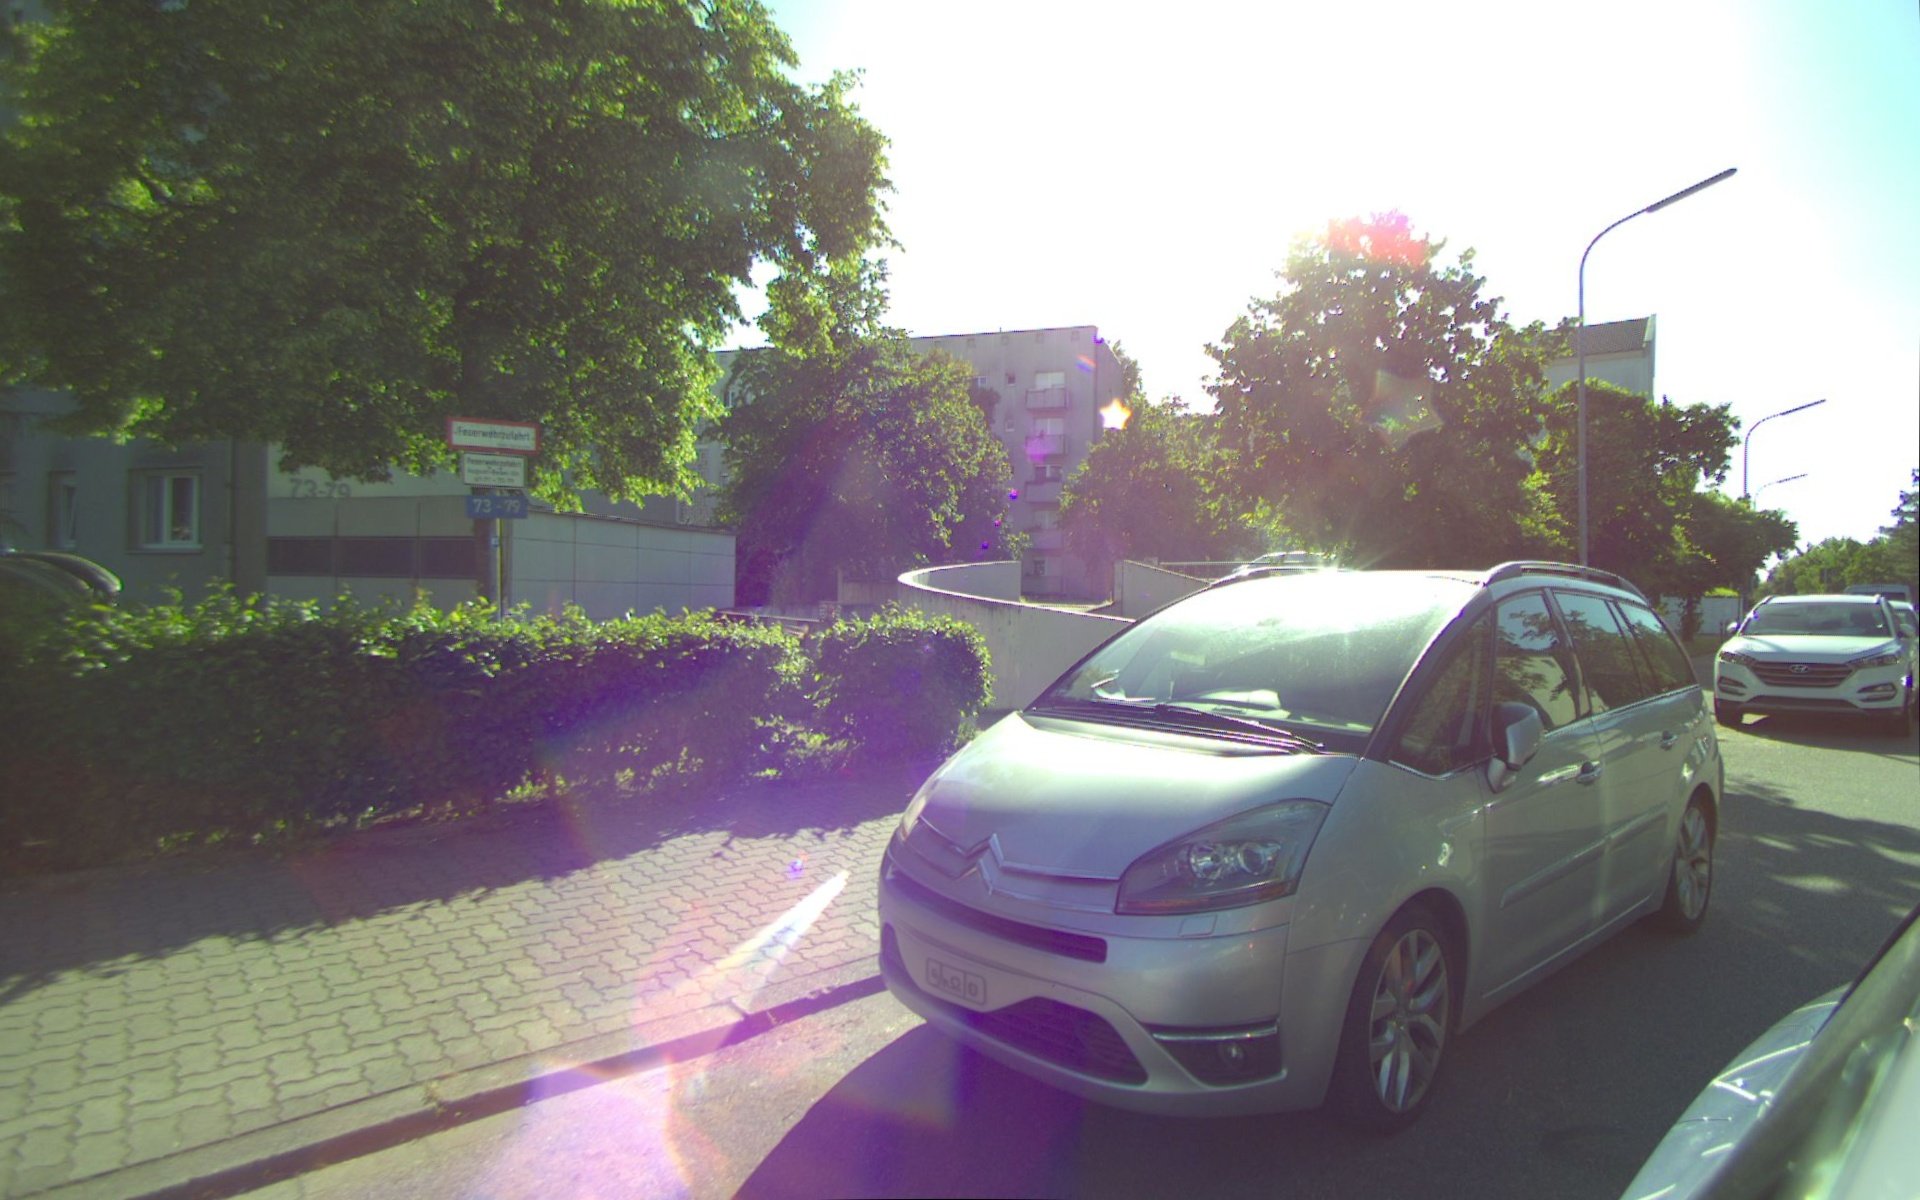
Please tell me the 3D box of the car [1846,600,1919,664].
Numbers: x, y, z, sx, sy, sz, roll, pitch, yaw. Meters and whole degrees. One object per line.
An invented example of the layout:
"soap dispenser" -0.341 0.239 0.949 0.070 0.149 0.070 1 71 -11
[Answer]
"car" 23.658 0.761 25.559 1.754 1.498 3.840 0 0 44

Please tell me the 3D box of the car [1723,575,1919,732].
"car" 11.352 0.573 13.087 4.340 1.695 1.755 0 0 -44

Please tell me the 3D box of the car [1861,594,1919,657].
"car" 27.242 0.694 29.265 1.753 1.716 3.842 0 0 42

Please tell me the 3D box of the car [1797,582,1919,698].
"car" 15.229 0.590 16.733 3.918 1.707 1.755 0 0 -44

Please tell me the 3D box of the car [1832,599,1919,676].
"car" 20.001 0.750 21.686 1.754 1.498 4.300 -2 -2 44

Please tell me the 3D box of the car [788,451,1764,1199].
"car" 1.664 0.511 4.202 4.414 1.648 1.758 0 0 -40
